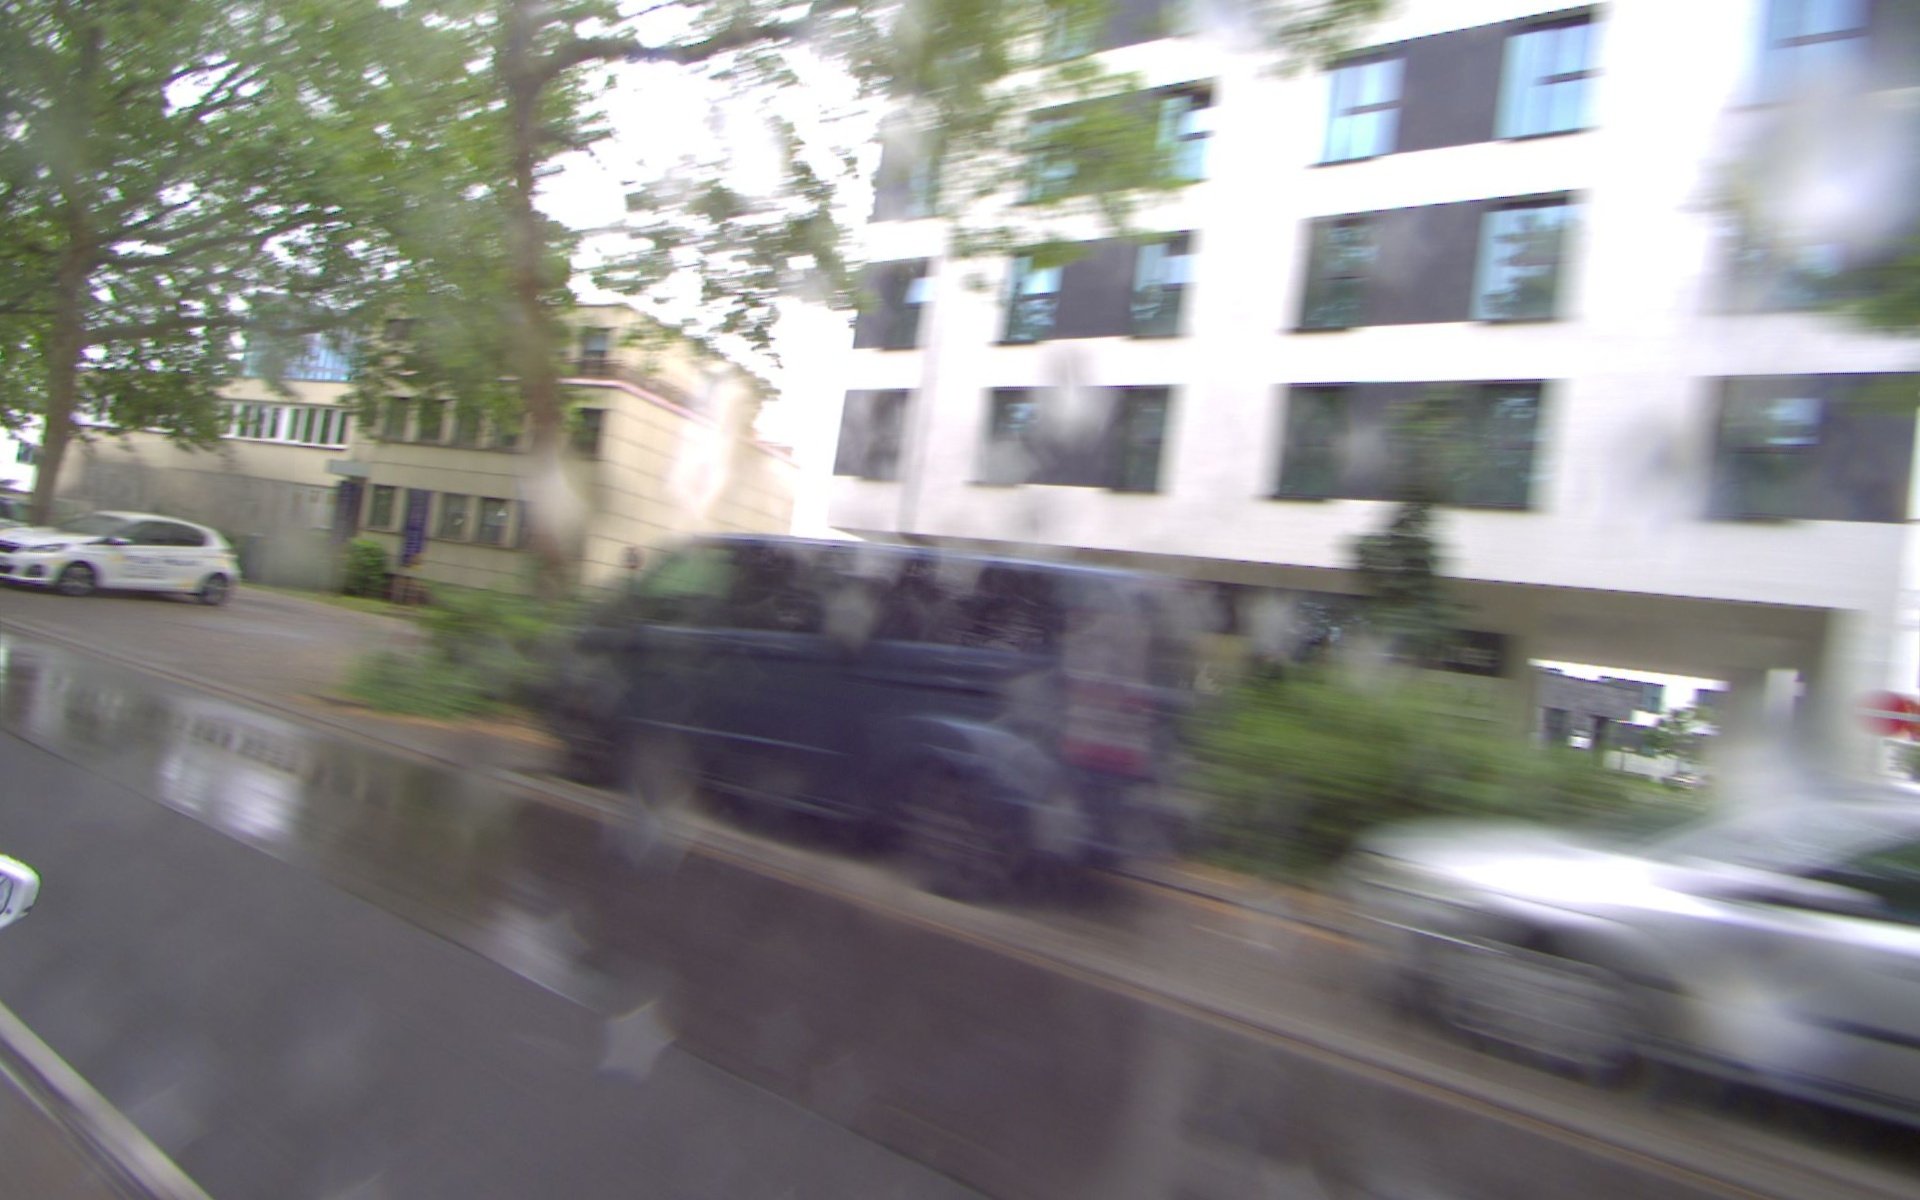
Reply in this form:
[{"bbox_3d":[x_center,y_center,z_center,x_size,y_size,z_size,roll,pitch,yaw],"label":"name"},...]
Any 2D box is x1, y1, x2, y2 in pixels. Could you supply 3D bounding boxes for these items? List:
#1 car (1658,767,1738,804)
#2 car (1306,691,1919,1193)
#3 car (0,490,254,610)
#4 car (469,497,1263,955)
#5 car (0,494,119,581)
[{"bbox_3d":[45.231,11.345,61.683,3.802,1.562,1.873,9,-2,-15],"label":"car"},{"bbox_3d":[3.961,1.485,4.368,4.235,1.485,1.747,7,-3,33],"label":"car"},{"bbox_3d":[-14.757,-0.832,17.518,1.716,1.521,3.652,9,-2,14],"label":"car"},{"bbox_3d":[-0.909,0.598,7.375,5.437,2.051,2.126,7,-3,33],"label":"car"},{"bbox_3d":[-18.658,-1.327,19.204,1.718,1.444,4.041,8,-3,-2],"label":"car"}]
